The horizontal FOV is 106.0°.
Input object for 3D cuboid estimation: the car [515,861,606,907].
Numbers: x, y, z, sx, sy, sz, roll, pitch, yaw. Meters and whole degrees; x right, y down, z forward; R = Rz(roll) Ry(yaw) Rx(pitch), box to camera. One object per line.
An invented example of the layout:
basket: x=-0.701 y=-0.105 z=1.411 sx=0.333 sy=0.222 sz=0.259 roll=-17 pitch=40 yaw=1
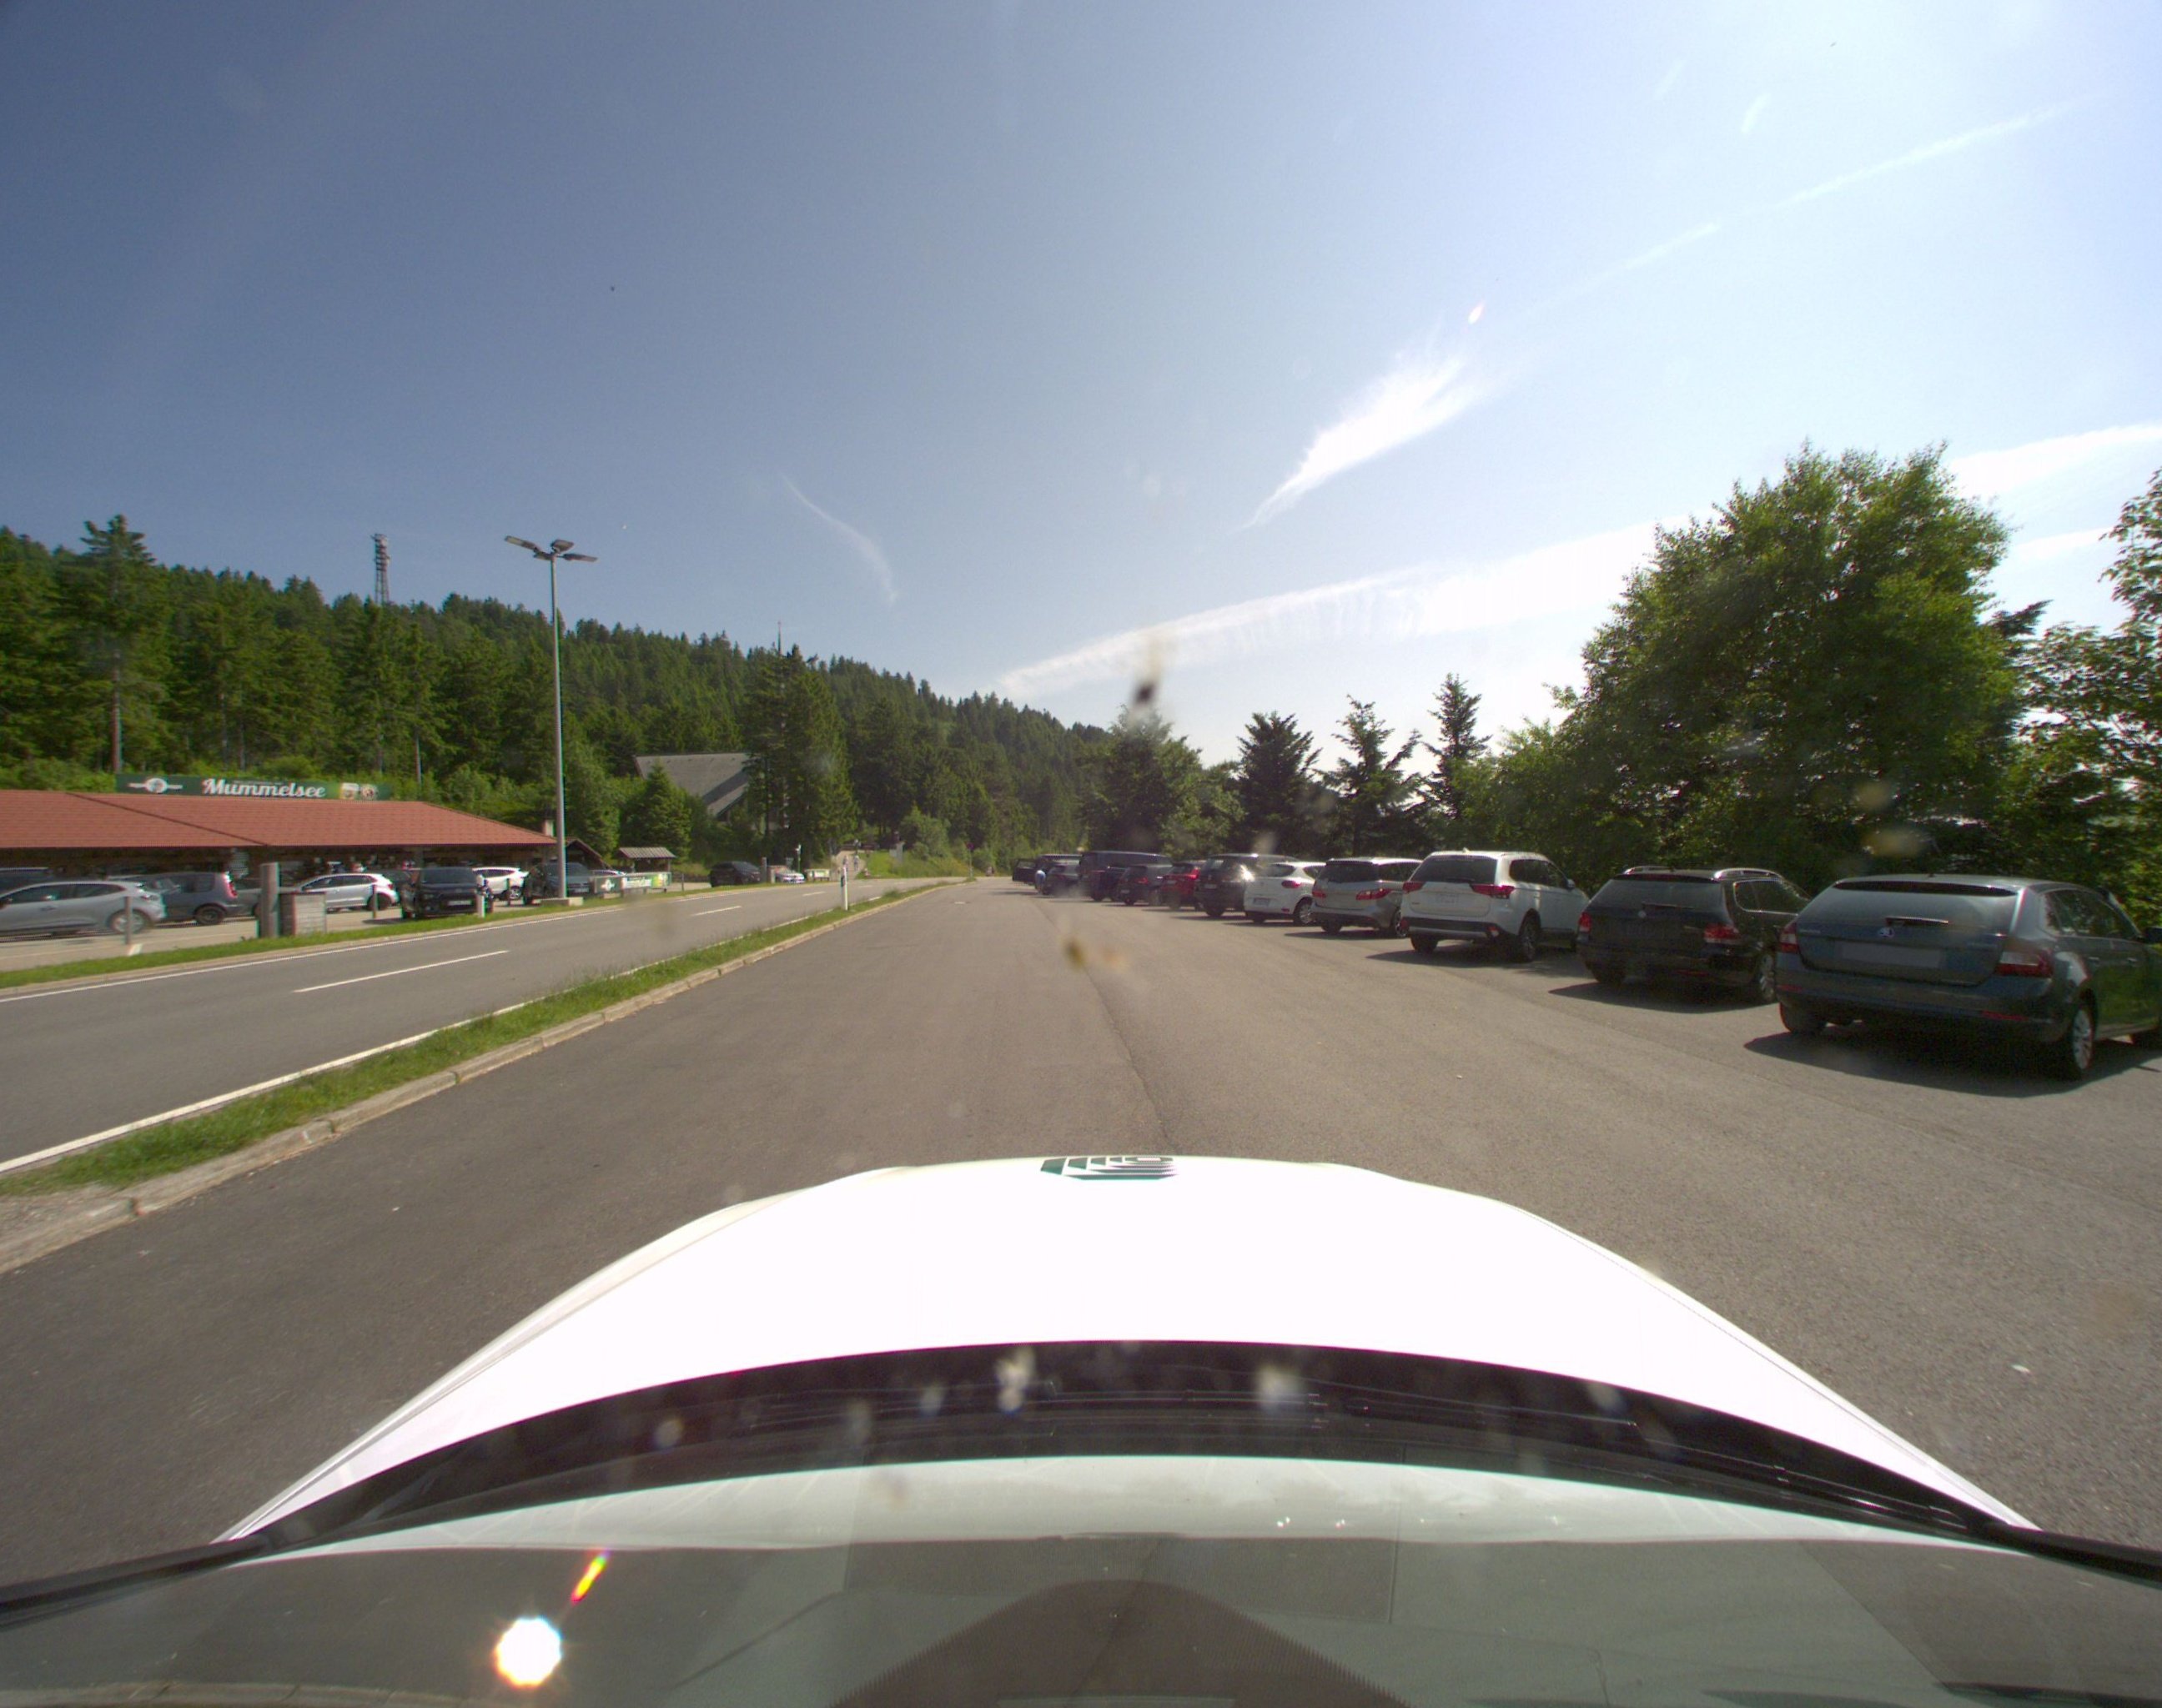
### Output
car: x=-19.288 y=1.077 z=30.110 sx=4.008 sy=1.567 sz=1.751 roll=-1 pitch=0 yaw=41

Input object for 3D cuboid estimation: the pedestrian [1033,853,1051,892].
pedestrian: x=-1.806 y=0.870 z=37.848 sx=0.581 sy=1.761 sz=0.629 roll=3 pitch=-2 yaw=-21

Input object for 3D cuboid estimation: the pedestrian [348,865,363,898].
pedestrian: x=-41.213 y=1.572 z=46.259 sx=0.540 sy=1.874 sz=0.531 roll=-1 pitch=-1 yaw=38

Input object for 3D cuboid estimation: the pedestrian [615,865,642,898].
pedestrian: x=-25.284 y=1.534 z=45.514 sx=0.895 sy=1.734 sz=0.959 roll=-2 pitch=1 yaw=-5

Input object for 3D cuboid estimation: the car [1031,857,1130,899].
car: x=0.010 y=1.113 z=37.209 sx=4.013 sy=1.662 sz=1.980 roll=5 pitch=-3 yaw=-32

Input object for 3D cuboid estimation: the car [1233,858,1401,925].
car: x=5.840 y=0.893 z=19.993 sx=4.014 sy=1.476 sz=1.750 roll=2 pitch=-1 yaw=-33

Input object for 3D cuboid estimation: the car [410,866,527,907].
car: x=-28.874 y=1.512 z=38.488 sx=1.753 sy=1.672 sz=4.057 roll=-3 pitch=0 yaw=39

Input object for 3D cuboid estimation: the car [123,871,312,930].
car: x=-27.659 y=1.428 z=26.211 sx=1.875 sy=1.545 sz=4.025 roll=-1 pitch=1 yaw=41

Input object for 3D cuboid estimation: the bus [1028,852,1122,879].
bus: x=-0.839 y=1.580 z=114.708 sx=12.775 sy=3.578 sz=2.992 roll=0 pitch=1 yaw=11

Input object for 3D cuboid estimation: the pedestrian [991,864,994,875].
pedestrian: x=-13.769 y=2.416 z=126.584 sx=0.392 sy=1.747 sz=0.407 roll=-1 pitch=0 yaw=6

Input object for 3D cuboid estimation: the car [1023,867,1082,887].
car: x=-2.336 y=1.879 z=66.363 sx=4.469 sy=1.299 sz=1.571 roll=4 pitch=-1 yaw=-21

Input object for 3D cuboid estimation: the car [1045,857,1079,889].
car: x=-1.290 y=1.234 z=54.040 sx=1.901 sy=1.972 sz=4.812 roll=3 pitch=-1 yaw=-4

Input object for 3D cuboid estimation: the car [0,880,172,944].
car: x=-26.334 y=1.477 z=20.828 sx=1.789 sy=1.371 sz=4.026 roll=-1 pitch=1 yaw=40

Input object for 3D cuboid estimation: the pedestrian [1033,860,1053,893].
pedestrian: x=-1.673 y=0.966 z=35.610 sx=0.770 sy=1.402 sz=0.669 roll=-2 pitch=1 yaw=1

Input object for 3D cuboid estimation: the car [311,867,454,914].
car: x=-27.904 y=1.428 z=32.624 sx=1.974 sy=1.574 sz=4.025 roll=-2 pitch=1 yaw=40

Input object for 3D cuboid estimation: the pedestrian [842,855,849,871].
pedestrian: x=-24.437 y=0.908 z=84.497 sx=0.653 sy=1.667 sz=0.640 roll=-1 pitch=-2 yaw=-11

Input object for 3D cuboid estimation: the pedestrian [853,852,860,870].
pedestrian: x=-23.540 y=0.730 z=85.298 sx=0.653 sy=1.799 sz=0.640 roll=-1 pitch=0 yaw=-11

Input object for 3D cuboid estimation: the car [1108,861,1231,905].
car: x=3.093 y=1.002 z=28.185 sx=4.014 sy=1.415 sz=1.727 roll=2 pitch=-1 yaw=-32

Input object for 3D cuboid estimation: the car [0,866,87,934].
car: x=-32.466 y=1.415 z=23.916 sx=1.974 sy=1.903 sz=4.026 roll=-2 pitch=1 yaw=38

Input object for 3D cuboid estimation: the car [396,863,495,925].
car: x=-18.245 y=1.062 z=23.319 sx=1.793 sy=1.552 sz=3.951 roll=-2 pitch=1 yaw=-44

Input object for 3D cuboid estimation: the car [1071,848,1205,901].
car: x=2.200 y=0.810 z=31.353 sx=4.779 sy=1.880 sz=1.951 roll=2 pitch=-1 yaw=-24

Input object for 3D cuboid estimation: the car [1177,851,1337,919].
car: x=4.885 y=0.825 z=22.339 sx=4.293 sy=1.695 sz=1.968 roll=2 pitch=-1 yaw=-37

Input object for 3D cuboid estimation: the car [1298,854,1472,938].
car: x=6.501 y=0.848 z=17.236 sx=4.021 sy=1.549 sz=1.798 roll=2 pitch=-1 yaw=-42

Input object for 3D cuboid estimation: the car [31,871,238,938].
car: x=-27.117 y=1.373 z=23.492 sx=1.713 sy=1.588 sz=3.756 roll=-1 pitch=1 yaw=40

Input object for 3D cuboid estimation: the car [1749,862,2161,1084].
car: x=7.781 y=0.863 z=7.109 sx=3.815 sy=1.459 sz=1.648 roll=2 pitch=0 yaw=-28

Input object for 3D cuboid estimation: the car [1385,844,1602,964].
car: x=7.005 y=0.731 z=13.632 sx=4.250 sy=1.694 sz=1.841 roll=1 pitch=0 yaw=-42

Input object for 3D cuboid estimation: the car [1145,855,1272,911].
car: x=4.081 y=0.900 z=25.746 sx=4.021 sy=1.590 sz=1.841 roll=2 pitch=-1 yaw=-42

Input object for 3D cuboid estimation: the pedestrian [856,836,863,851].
pedestrian: x=-30.288 y=-1.466 z=111.481 sx=0.816 sy=2.013 sz=0.850 roll=-2 pitch=1 yaw=-13

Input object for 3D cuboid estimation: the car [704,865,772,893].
car: x=-20.740 y=1.506 z=49.218 sx=4.156 sy=1.634 sz=1.800 roll=-2 pitch=-1 yaw=35

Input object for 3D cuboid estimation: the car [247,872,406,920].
car: x=-27.407 y=1.462 z=29.678 sx=1.883 sy=1.420 sz=4.025 roll=-2 pitch=1 yaw=40

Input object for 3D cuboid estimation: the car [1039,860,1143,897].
car: x=0.428 y=1.021 z=34.425 sx=4.007 sy=1.443 sz=1.824 roll=2 pitch=-1 yaw=-26

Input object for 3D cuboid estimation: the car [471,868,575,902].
car: x=-28.717 y=1.600 z=42.007 sx=1.753 sy=1.468 sz=4.051 roll=-3 pitch=0 yaw=39

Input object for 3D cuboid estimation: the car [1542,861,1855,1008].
car: x=7.770 y=0.879 z=10.158 sx=4.066 sy=1.461 sz=1.875 roll=2 pitch=-1 yaw=-33

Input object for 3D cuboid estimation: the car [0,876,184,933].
car: x=-33.071 y=1.621 z=27.167 sx=1.974 sy=1.574 sz=4.026 roll=-2 pitch=1 yaw=38

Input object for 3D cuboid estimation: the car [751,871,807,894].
car: x=-20.578 y=1.936 z=55.502 sx=3.919 sy=1.441 sz=1.755 roll=-2 pitch=1 yaw=39
